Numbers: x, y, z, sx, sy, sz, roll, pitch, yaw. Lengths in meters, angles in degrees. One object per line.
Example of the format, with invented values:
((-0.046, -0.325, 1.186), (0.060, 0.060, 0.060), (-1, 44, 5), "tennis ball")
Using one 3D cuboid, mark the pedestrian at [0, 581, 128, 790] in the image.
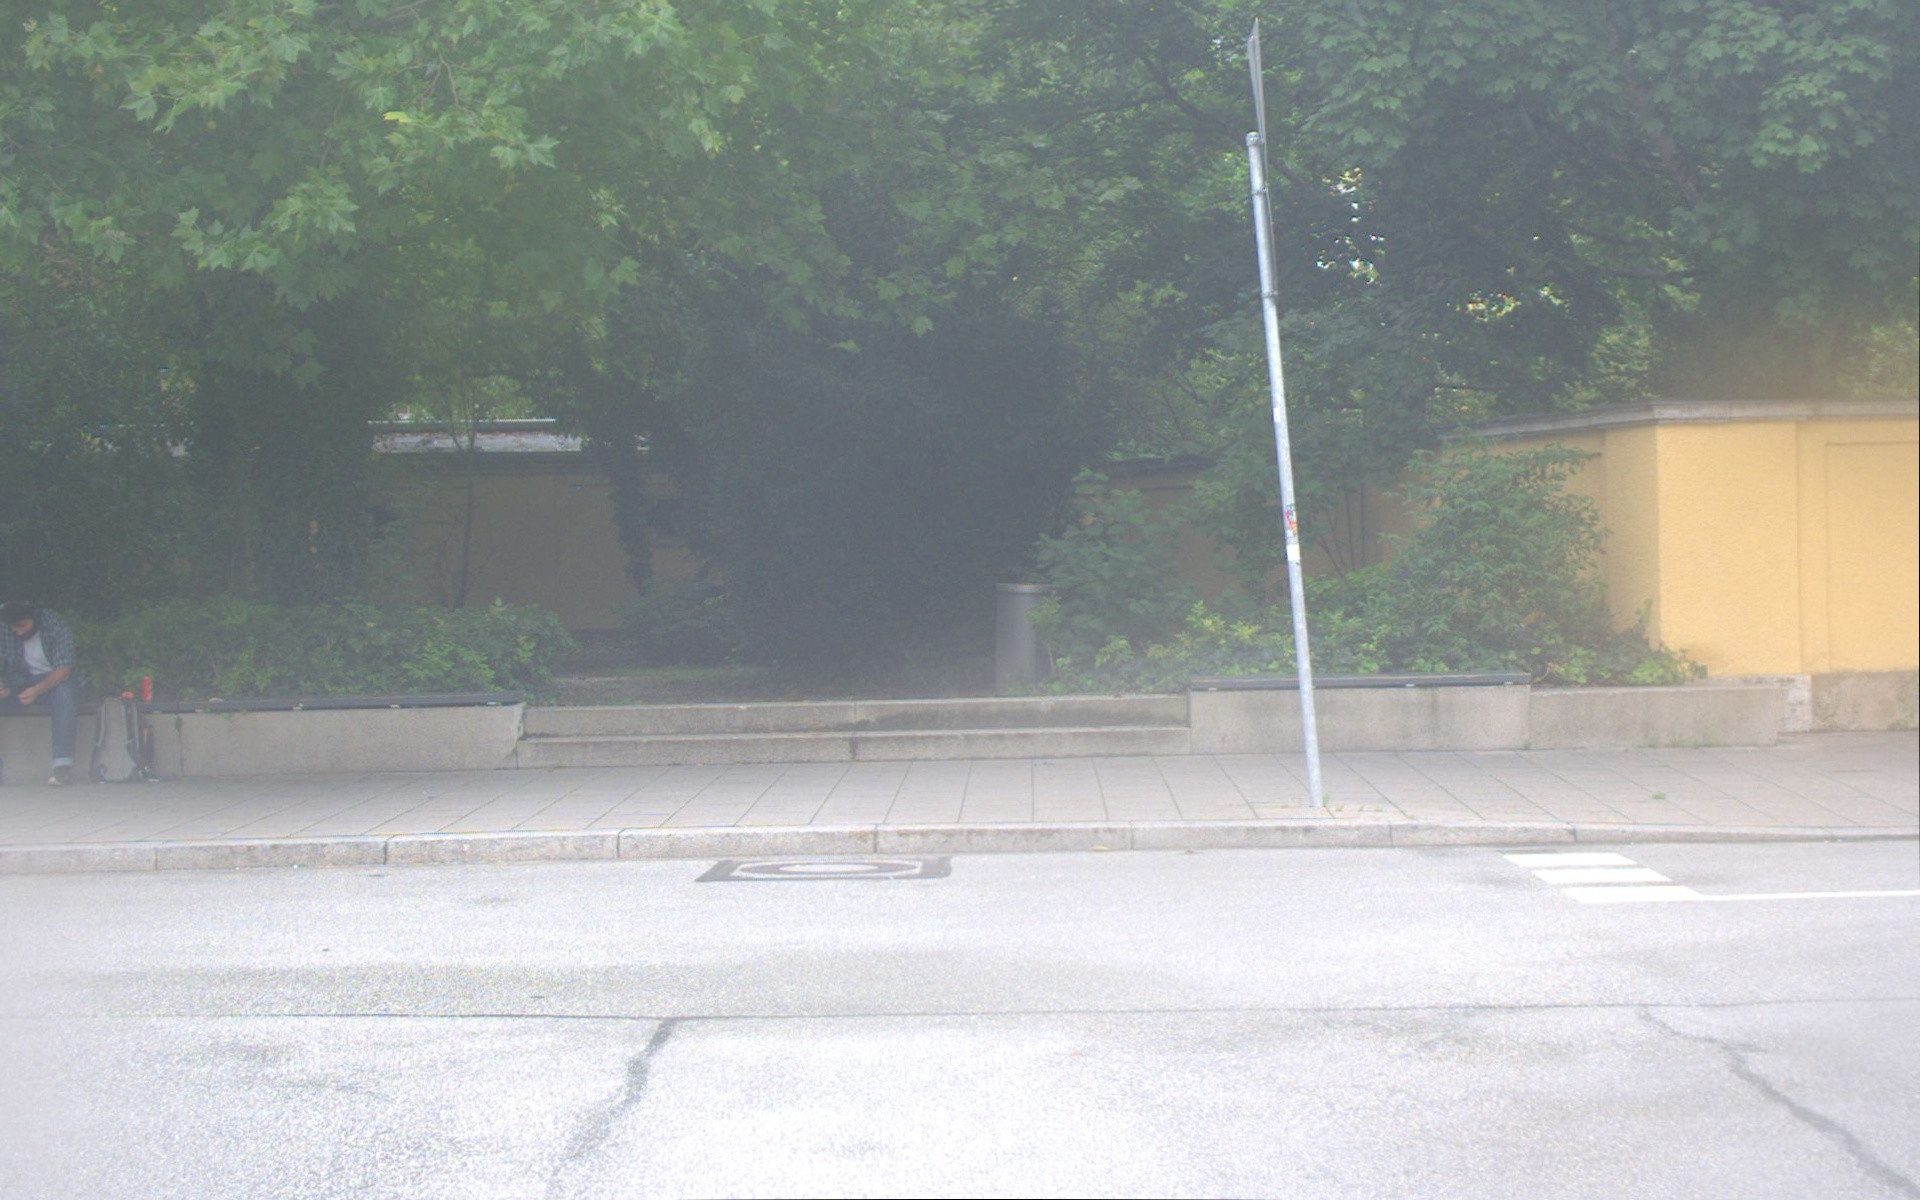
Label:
((-5.469, 0.493, 20.279), (0.812, 1.185, 0.919), (-1, 1, 5), "pedestrian")
